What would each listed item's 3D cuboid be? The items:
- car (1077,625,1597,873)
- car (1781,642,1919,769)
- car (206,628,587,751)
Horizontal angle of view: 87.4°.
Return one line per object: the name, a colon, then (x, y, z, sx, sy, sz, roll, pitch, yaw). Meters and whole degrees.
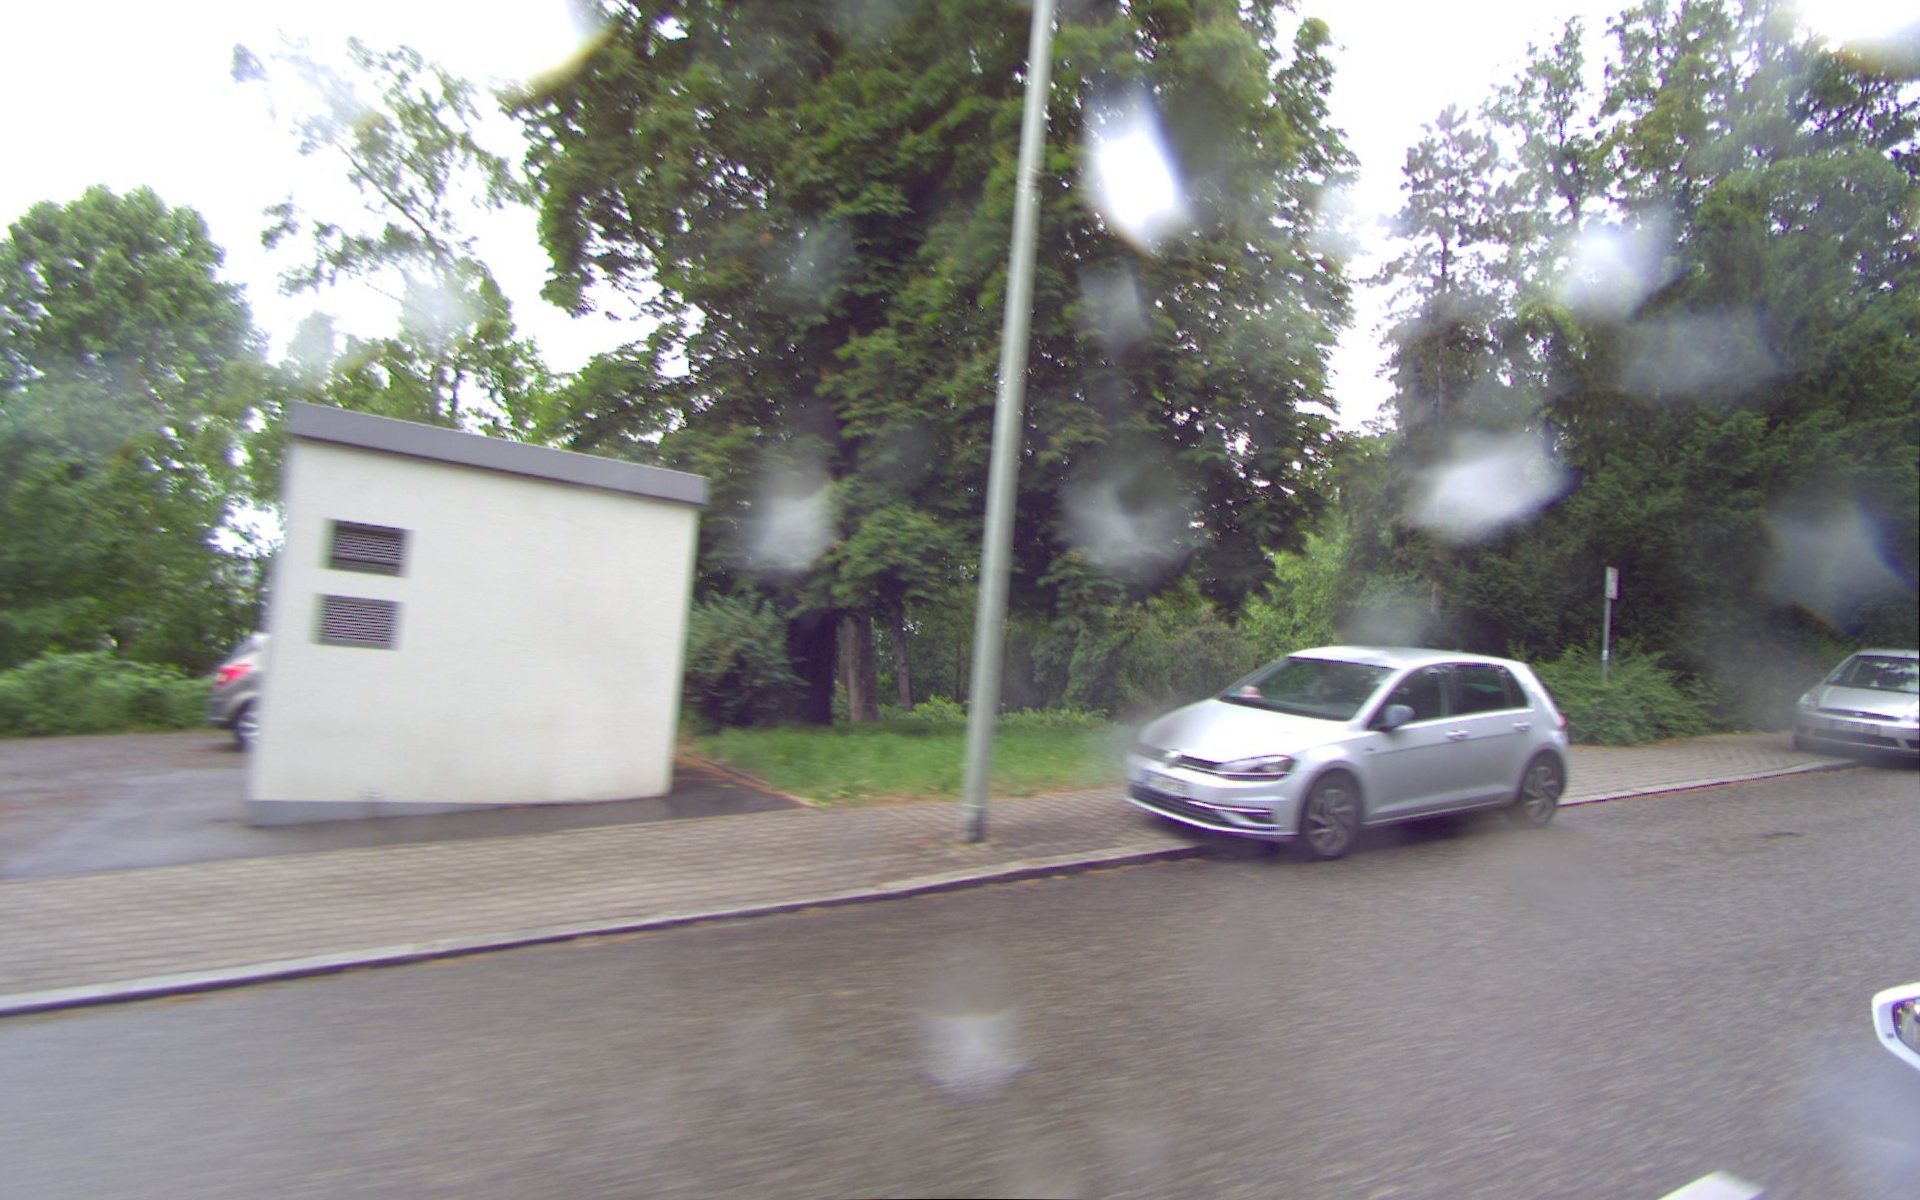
car: (3.244, 1.093, 8.528, 4.188, 1.632, 1.878, 2, -4, -30)
car: (13.355, 1.395, 14.145, 3.885, 1.519, 1.617, 2, 0, -33)
car: (-7.704, 1.154, 14.048, 4.349, 1.478, 1.934, 2, -2, -33)
